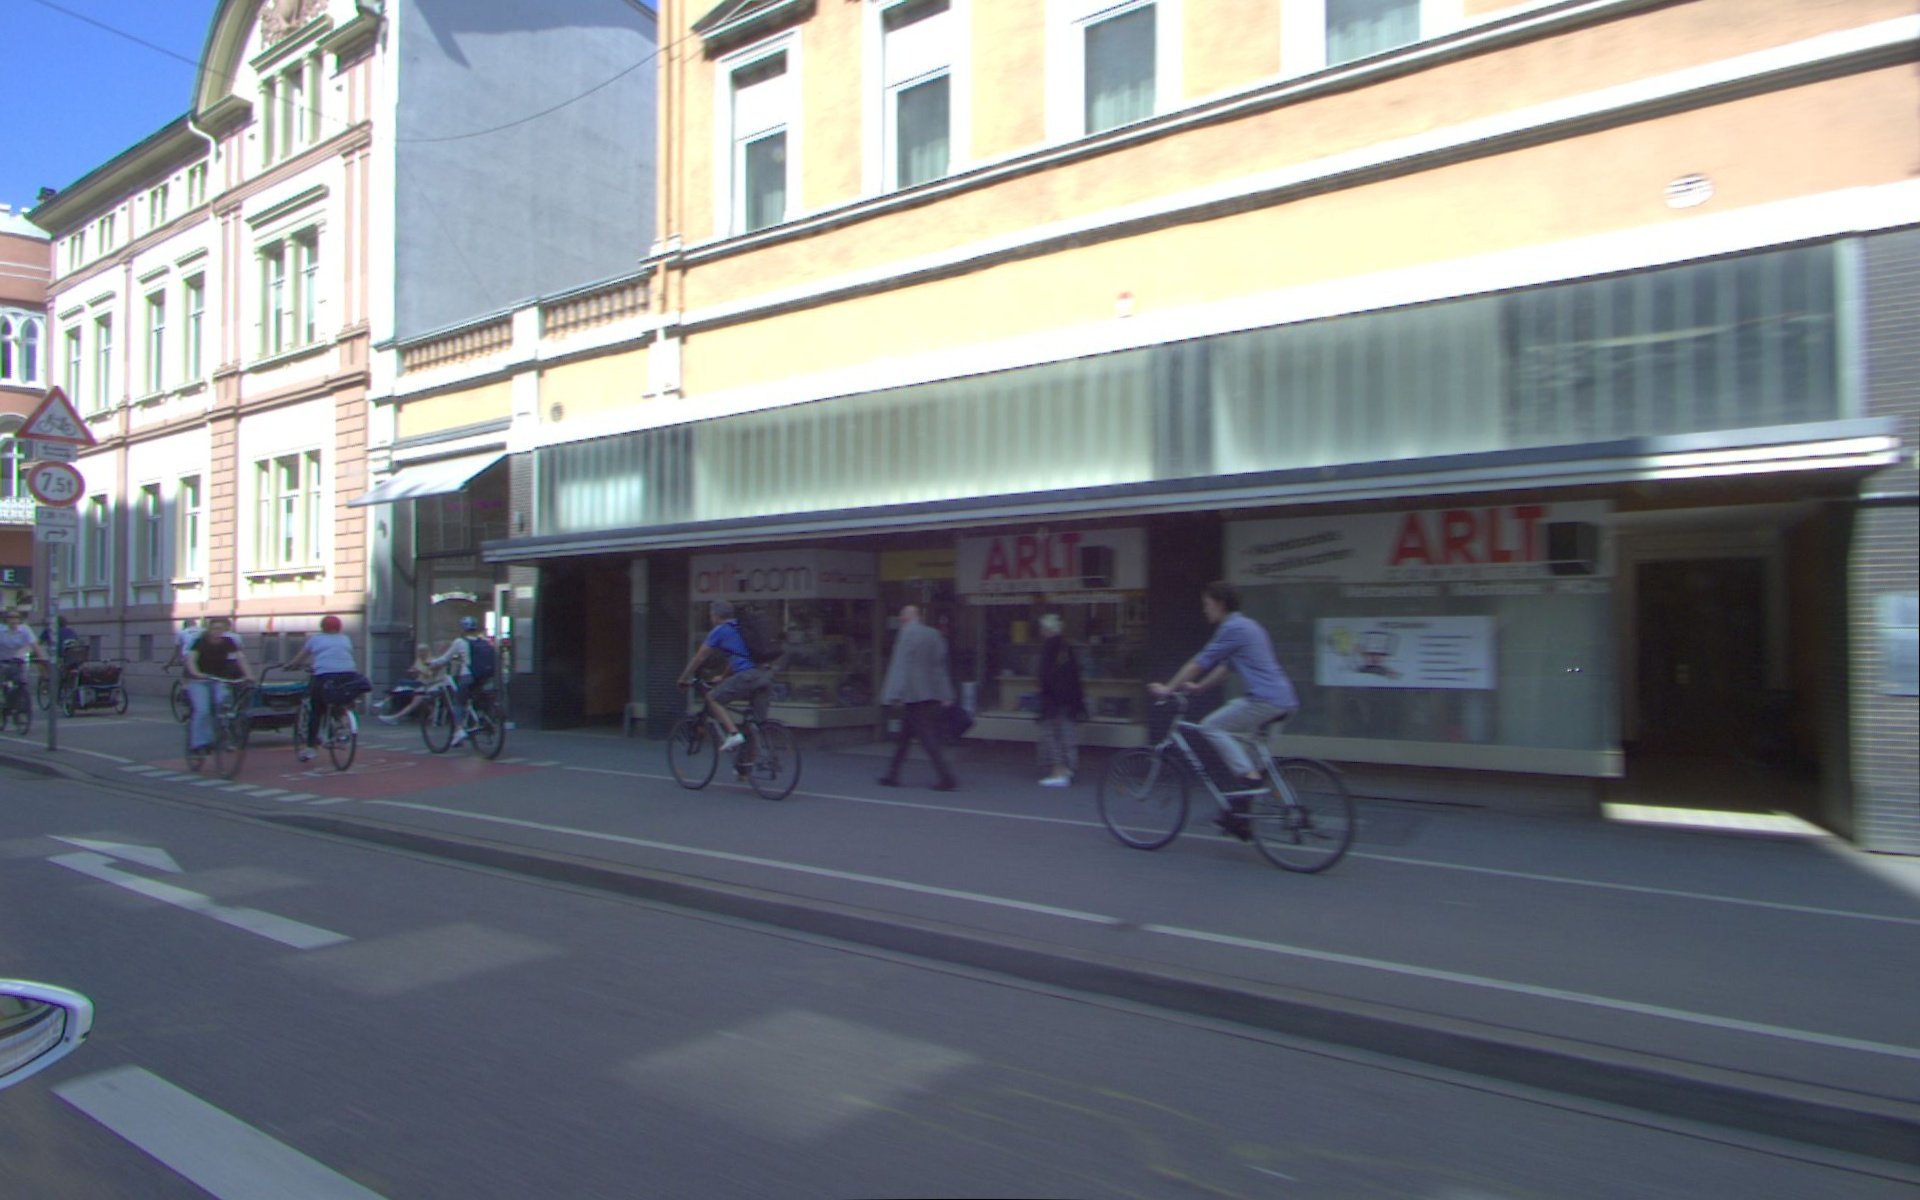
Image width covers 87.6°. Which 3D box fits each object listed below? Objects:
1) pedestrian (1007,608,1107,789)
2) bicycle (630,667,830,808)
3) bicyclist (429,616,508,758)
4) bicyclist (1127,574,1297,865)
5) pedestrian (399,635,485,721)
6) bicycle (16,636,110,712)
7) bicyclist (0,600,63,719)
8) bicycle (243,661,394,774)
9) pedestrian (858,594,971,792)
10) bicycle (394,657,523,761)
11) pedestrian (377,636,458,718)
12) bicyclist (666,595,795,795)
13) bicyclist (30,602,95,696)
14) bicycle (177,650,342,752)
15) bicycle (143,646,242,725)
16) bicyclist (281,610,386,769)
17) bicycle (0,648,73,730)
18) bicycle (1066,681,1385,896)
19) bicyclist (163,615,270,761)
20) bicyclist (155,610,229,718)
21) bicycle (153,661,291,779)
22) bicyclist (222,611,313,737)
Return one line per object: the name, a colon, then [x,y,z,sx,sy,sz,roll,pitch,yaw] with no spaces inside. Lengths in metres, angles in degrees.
pedestrian: [0.942,0.932,9.758,0.832,1.686,0.520,-1,-2,33]
bicycle: [-2.171,1.224,9.340,1.964,1.132,0.661,-1,-1,34]
bicyclist: [-5.970,1.034,12.167,0.832,1.657,0.514,-1,-1,33]
bicyclist: [1.673,0.731,6.594,0.832,1.739,0.906,-1,-1,32]
pedestrian: [-8.560,1.267,16.579,0.616,1.334,1.084,0,1,31]
bicycle: [-16.779,1.355,18.711,2.250,1.285,0.731,1,-2,34]
bicyclist: [-14.196,0.879,15.099,1.021,1.724,0.744,-1,-1,33]
bicycle: [-7.475,1.319,11.634,2.005,1.142,0.733,-1,0,34]
pedestrian: [-0.436,0.865,9.741,0.757,1.814,0.837,-1,-1,32]
bicycle: [-6.216,1.307,12.381,1.834,1.142,0.604,-1,0,34]
pedestrian: [-9.146,1.277,16.898,0.616,1.333,1.028,0,-1,31]
bicyclist: [-2.132,0.845,9.325,0.832,1.739,0.837,-1,-1,32]
bicyclist: [-16.751,0.901,18.692,0.764,1.695,0.729,-1,-1,33]
bicycle: [-9.594,1.320,13.651,3.195,1.142,0.746,0,0,34]
bicycle: [-12.526,1.366,16.330,2.047,1.142,0.570,0,0,31]
bicyclist: [-7.222,1.003,11.548,0.832,1.740,0.681,-1,1,33]
bicycle: [-14.434,1.314,15.275,2.538,1.141,0.739,-2,-1,34]
bicycle: [1.710,1.143,6.535,1.889,1.132,0.745,-1,-1,31]
bicyclist: [-8.488,0.975,11.439,0.832,1.593,0.744,-1,-1,32]
bicyclist: [-12.523,1.016,16.324,1.141,1.684,0.570,1,1,31]
bicycle: [-8.373,1.312,11.332,2.064,1.142,0.593,0,0,34]
bicyclist: [-9.285,0.965,13.436,0.832,1.595,0.744,2,2,32]
